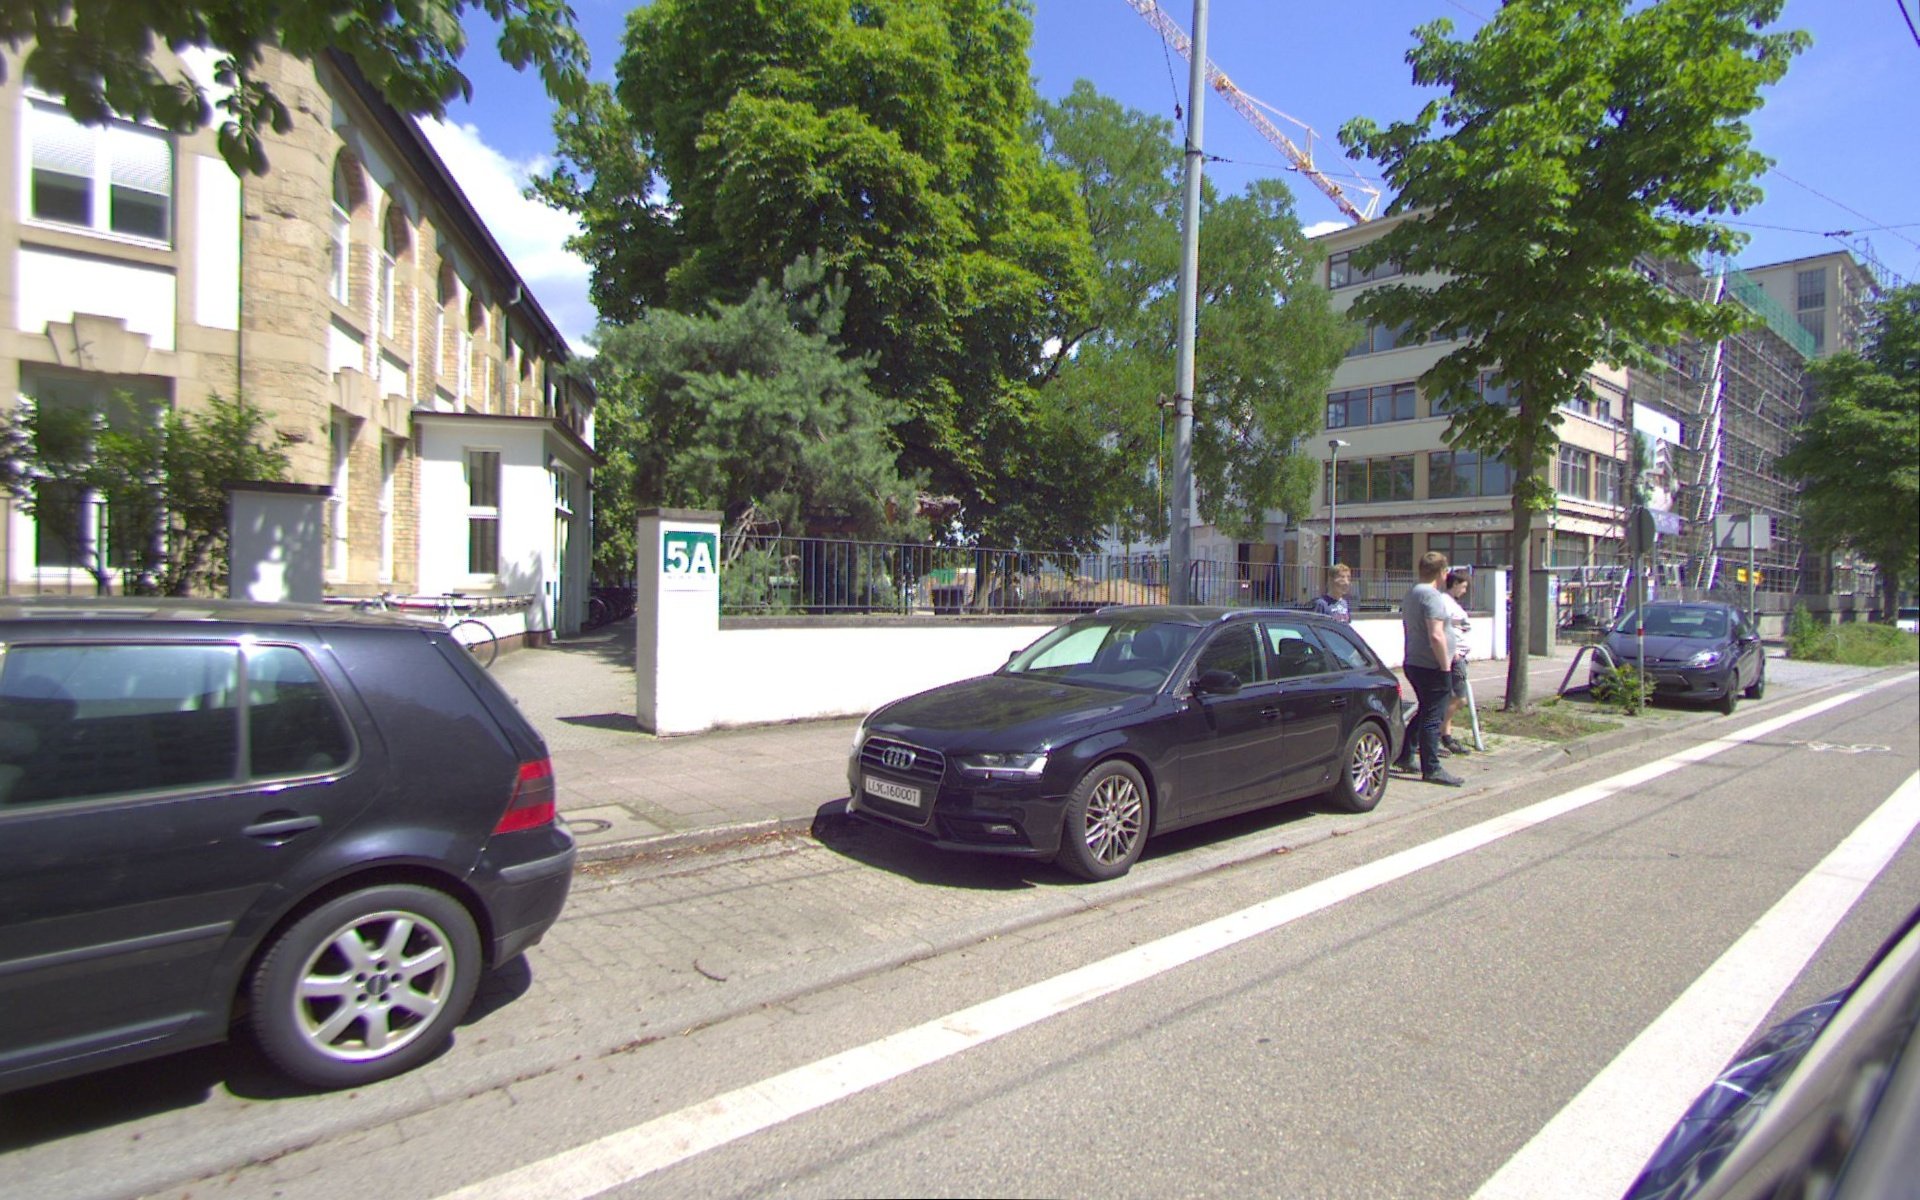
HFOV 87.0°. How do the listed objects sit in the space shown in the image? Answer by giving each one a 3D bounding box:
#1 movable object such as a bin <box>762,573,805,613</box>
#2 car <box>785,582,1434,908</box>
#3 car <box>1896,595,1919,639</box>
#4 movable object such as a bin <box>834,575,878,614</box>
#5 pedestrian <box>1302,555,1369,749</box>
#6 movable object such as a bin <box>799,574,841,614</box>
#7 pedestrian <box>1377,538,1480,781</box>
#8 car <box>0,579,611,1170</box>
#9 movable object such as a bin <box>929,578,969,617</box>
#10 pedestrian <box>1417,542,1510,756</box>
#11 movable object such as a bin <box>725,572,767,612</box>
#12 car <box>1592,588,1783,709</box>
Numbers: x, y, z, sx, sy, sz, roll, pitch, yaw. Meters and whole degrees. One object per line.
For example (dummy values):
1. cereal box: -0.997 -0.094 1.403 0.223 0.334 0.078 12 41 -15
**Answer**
1. movable object such as a bin: -6.788 -0.260 38.782 1.360 1.481 1.412 1 1 -20
2. car: 1.240 0.636 6.823 4.448 1.473 1.880 -1 2 -41
3. car: 35.693 0.625 37.050 3.717 1.553 1.648 1 0 -40
4. movable object such as a bin: -4.047 -0.231 39.369 1.360 1.481 1.412 1 1 -20
5. pedestrian: 3.530 0.463 9.544 0.471 1.758 0.618 2 2 13
6. movable object such as a bin: -5.411 -0.233 39.055 1.360 1.481 1.412 1 1 -19
7. pedestrian: 3.841 0.453 8.342 0.568 1.883 0.808 1 1 13
8. car: -3.336 0.672 2.787 4.171 1.441 1.713 -1 2 -42
9. movable object such as a bin: -0.412 -0.114 39.715 1.366 1.481 1.406 1 1 8
10. pedestrian: 4.634 0.419 9.354 0.568 1.883 0.723 1 1 13
11. movable object such as a bin: -8.145 -0.316 38.438 1.360 1.481 1.412 1 1 -20
12. car: 10.759 0.597 14.872 3.810 1.504 1.640 -1 2 -44
